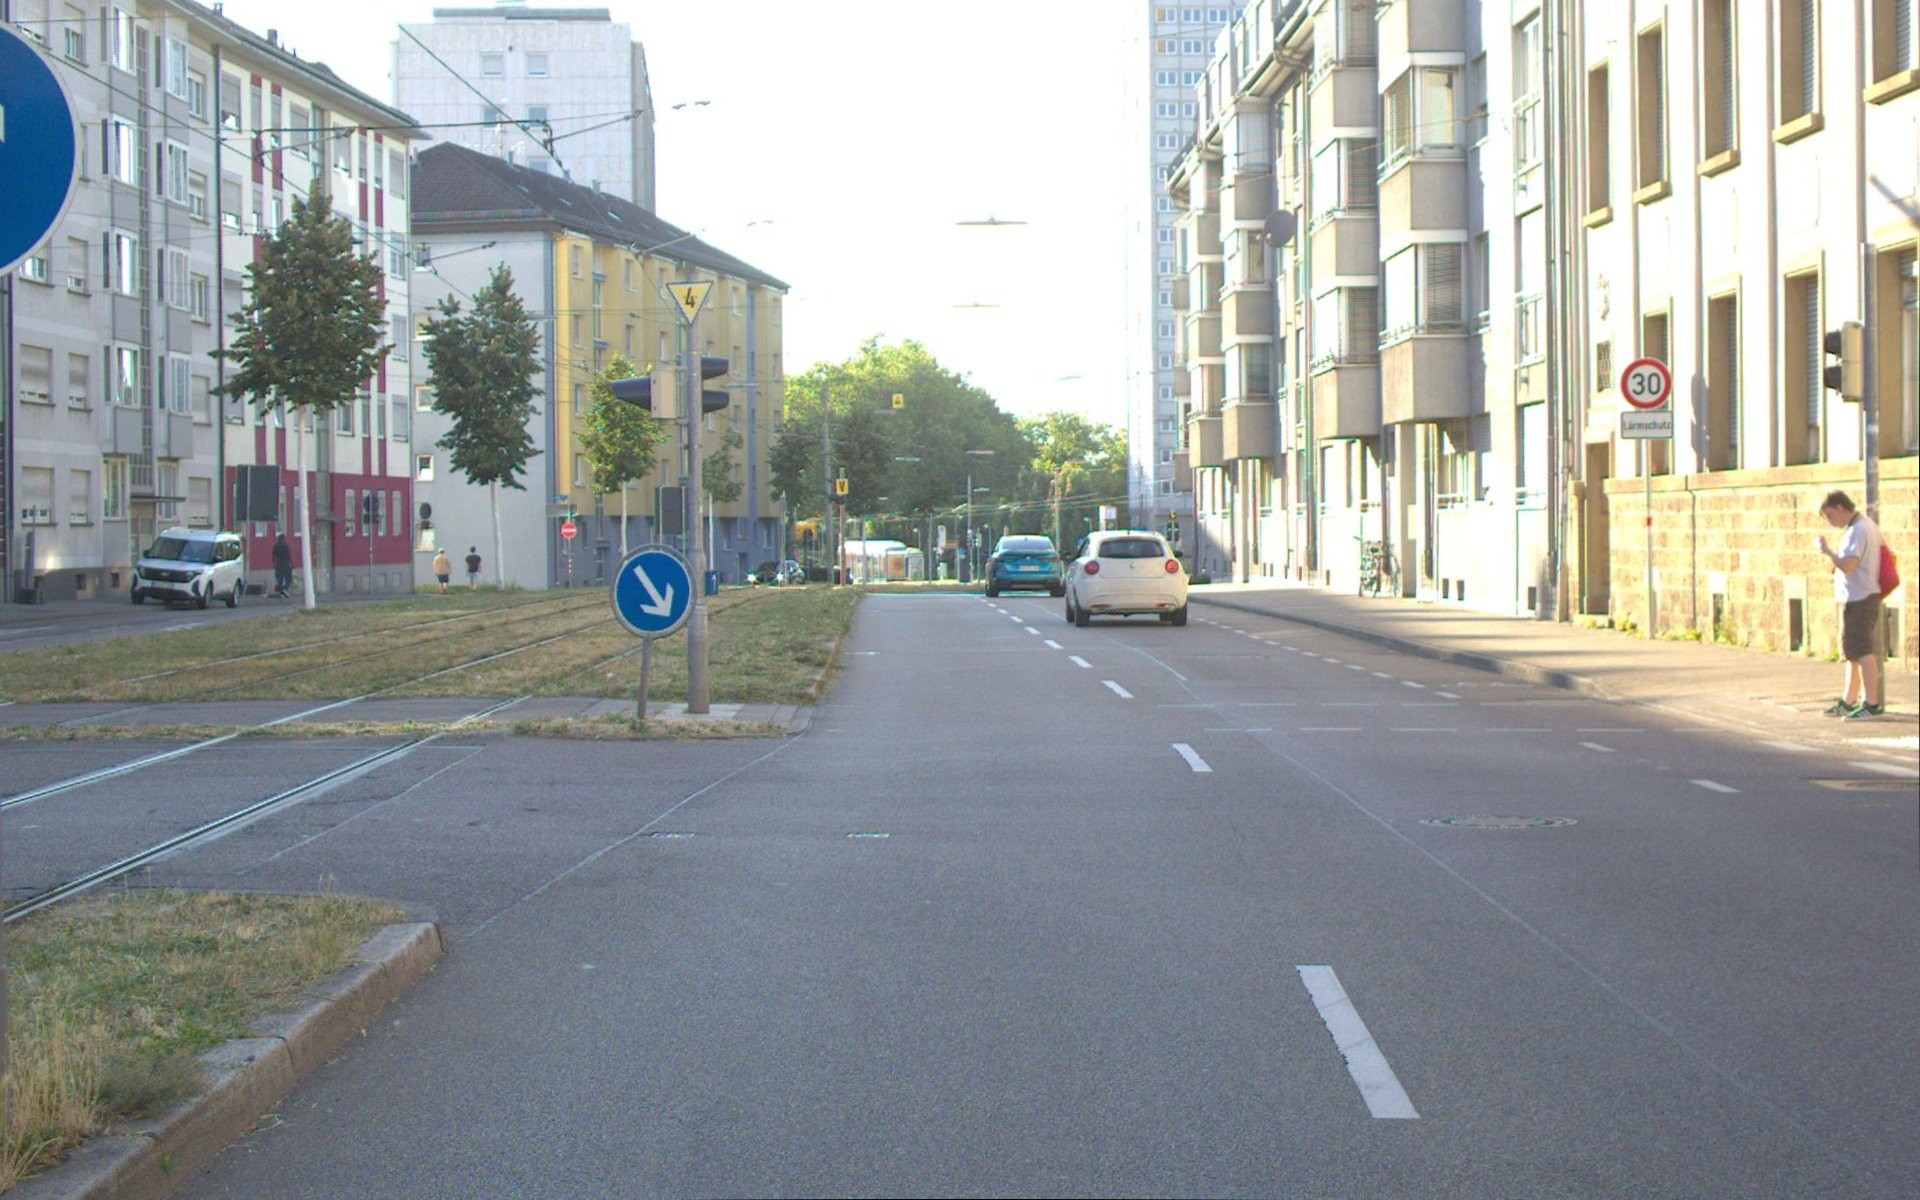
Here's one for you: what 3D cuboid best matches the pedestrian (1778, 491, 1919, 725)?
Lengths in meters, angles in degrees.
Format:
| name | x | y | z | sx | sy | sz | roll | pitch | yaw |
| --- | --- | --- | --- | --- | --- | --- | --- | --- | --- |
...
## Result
| name | x | y | z | sx | sy | sz | roll | pitch | yaw |
| --- | --- | --- | --- | --- | --- | --- | --- | --- | --- |
| pedestrian | 6.792 | 0.057 | 26.310 | 0.835 | 1.756 | 0.824 | 1 | 0 | -1 |

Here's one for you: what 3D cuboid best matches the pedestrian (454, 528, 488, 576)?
| name | x | y | z | sx | sy | sz | roll | pitch | yaw |
| --- | --- | --- | --- | --- | --- | --- | --- | --- | --- |
| pedestrian | -17.116 | -1.673 | 120.430 | 0.962 | 1.664 | 1.011 | 1 | 0 | 5 |

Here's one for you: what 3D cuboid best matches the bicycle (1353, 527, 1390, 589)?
| name | x | y | z | sx | sy | sz | roll | pitch | yaw |
| --- | --- | --- | --- | --- | --- | --- | --- | --- | --- |
| bicycle | 7.403 | -0.753 | 61.895 | 0.383 | 1.092 | 1.504 | -1 | 1 | -3 |

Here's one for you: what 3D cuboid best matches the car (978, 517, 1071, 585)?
| name | x | y | z | sx | sy | sz | roll | pitch | yaw |
| --- | --- | --- | --- | --- | --- | --- | --- | --- | --- |
| car | 1.507 | -1.155 | 81.716 | 1.993 | 1.549 | 4.394 | 1 | 1 | -1 |

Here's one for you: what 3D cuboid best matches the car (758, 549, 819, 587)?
| name | x | y | z | sx | sy | sz | roll | pitch | yaw |
| --- | --- | --- | --- | --- | --- | --- | --- | --- | --- |
| car | -7.812 | -1.478 | 157.119 | 1.898 | 1.628 | 4.746 | -1 | 1 | 8 |

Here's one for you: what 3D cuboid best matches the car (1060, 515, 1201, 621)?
| name | x | y | z | sx | sy | sz | roll | pitch | yaw |
| --- | --- | --- | --- | --- | --- | --- | --- | --- | --- |
| car | 2.595 | -0.493 | 53.152 | 1.993 | 1.558 | 4.000 | 1 | 1 | 1 |

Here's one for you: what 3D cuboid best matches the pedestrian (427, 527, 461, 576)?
| name | x | y | z | sx | sy | sz | roll | pitch | yaw |
| --- | --- | --- | --- | --- | --- | --- | --- | --- | --- |
| pedestrian | -17.986 | -1.679 | 119.871 | 0.962 | 1.688 | 1.011 | 1 | 0 | 5 |

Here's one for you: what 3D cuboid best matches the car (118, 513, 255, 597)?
| name | x | y | z | sx | sy | sz | roll | pitch | yaw |
| --- | --- | --- | --- | --- | --- | --- | --- | --- | --- |
| car | -18.326 | -1.062 | 81.607 | 1.994 | 1.918 | 4.541 | 1 | 1 | 3 |

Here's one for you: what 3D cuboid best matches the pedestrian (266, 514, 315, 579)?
| name | x | y | z | sx | sy | sz | roll | pitch | yaw |
| --- | --- | --- | --- | --- | --- | --- | --- | --- | --- |
| pedestrian | -18.499 | -1.479 | 95.058 | 1.269 | 1.755 | 1.274 | 1 | 0 | -10 |
